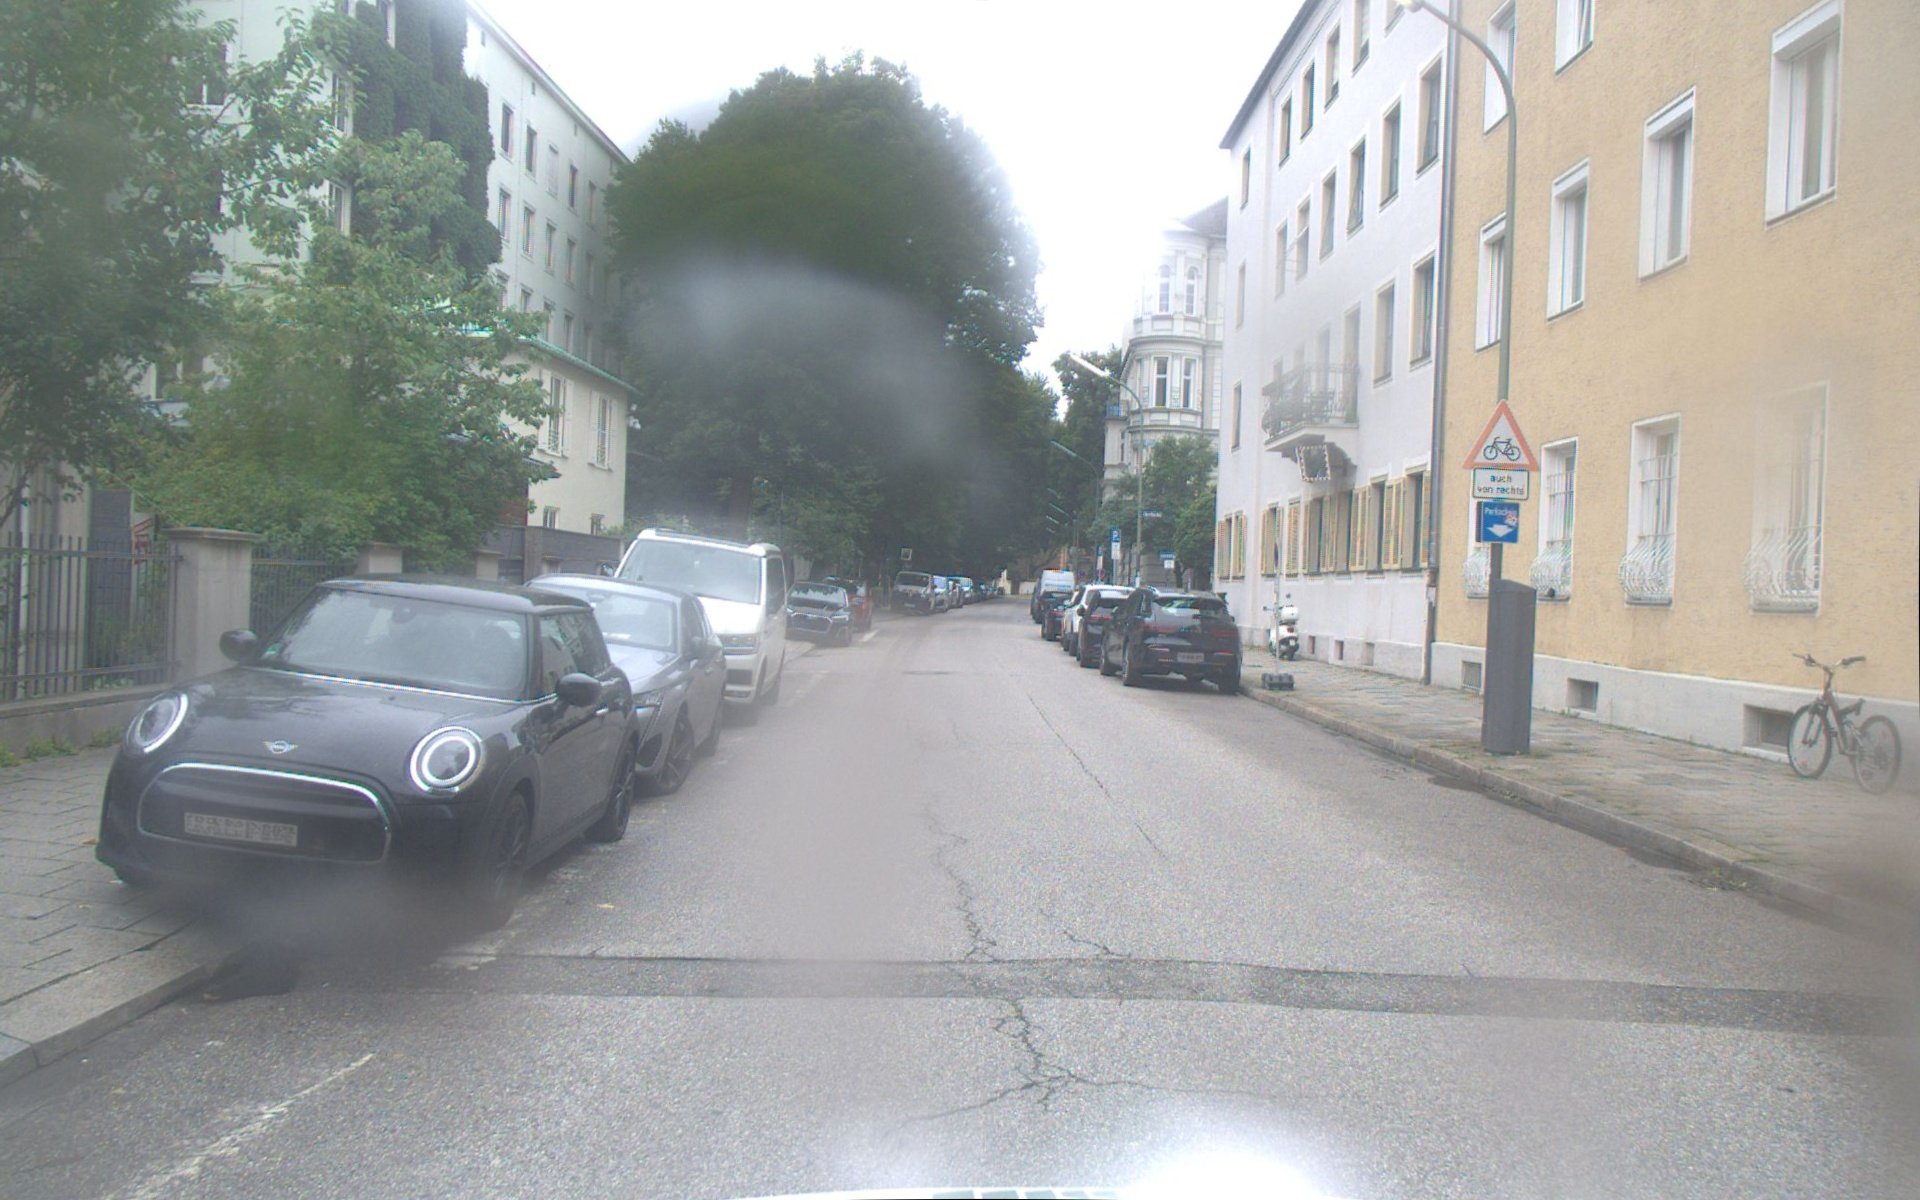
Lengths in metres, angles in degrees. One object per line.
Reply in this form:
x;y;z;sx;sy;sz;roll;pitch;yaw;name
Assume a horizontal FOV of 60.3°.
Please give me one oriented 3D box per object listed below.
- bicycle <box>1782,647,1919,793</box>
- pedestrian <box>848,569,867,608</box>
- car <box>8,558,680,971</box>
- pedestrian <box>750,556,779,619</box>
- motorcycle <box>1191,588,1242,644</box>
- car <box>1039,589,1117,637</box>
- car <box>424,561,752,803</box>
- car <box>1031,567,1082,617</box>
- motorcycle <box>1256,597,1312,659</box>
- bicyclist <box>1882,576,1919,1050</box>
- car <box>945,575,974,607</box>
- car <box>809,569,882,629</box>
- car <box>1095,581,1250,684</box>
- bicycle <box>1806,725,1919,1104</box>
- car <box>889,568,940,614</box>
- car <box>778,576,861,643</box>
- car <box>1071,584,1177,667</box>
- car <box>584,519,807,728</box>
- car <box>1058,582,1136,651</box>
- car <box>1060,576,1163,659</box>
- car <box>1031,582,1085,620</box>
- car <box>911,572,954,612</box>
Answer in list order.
7.627;0.980;14.060;0.335;1.101;1.813;0;0;-1;bicycle
-4.293;-0.471;69.143;0.699;1.575;0.752;4;0;-4;pedestrian
-2.710;0.612;8.413;1.820;1.571;4.188;0;0;0;car
-6.046;-0.379;51.286;0.698;1.884;0.797;3;0;0;pedestrian
7.001;0.416;45.240;0.840;1.458;2.706;2;1;-2;motorcycle
3.435;0.356;48.966;1.959;1.342;4.595;0;1;0;car
-2.797;0.527;13.502;1.850;1.570;4.693;2;1;-4;car
4.525;-0.358;78.052;2.158;2.247;4.855;1;0;1;car
7.128;0.598;36.451;0.717;1.260;2.007;3;0;-1;motorcycle
3.450;0.698;4.981;0.739;1.508;0.981;3;0;1;bicyclist
-0.022;-0.659;122.833;1.961;2.224;4.697;3;0;1;car
-3.415;-0.052;49.979;1.849;1.618;4.527;3;0;0;car
3.580;0.488;28.727;1.823;1.604;4.897;1;1;-3;car
3.437;1.060;5.046;0.658;1.161;2.011;3;0;1;bicycle
-2.127;-0.441;78.137;2.202;1.990;5.453;3;0;-1;car
-3.353;0.186;40.244;1.771;1.426;4.921;3;0;-3;car
3.318;0.468;34.162;1.800;1.558;4.416;1;1;1;car
-2.938;0.218;19.471;1.927;2.025;5.149;3;0;-3;car
3.615;0.416;44.089;1.735;1.572;3.712;7;1;2;car
3.541;0.371;39.466;1.953;1.736;4.534;4;1;0;car
4.226;0.047;71.092;2.225;1.573;4.589;1;0;4;car
-1.473;-0.462;89.847;2.139;1.990;5.166;3;0;-1;car
